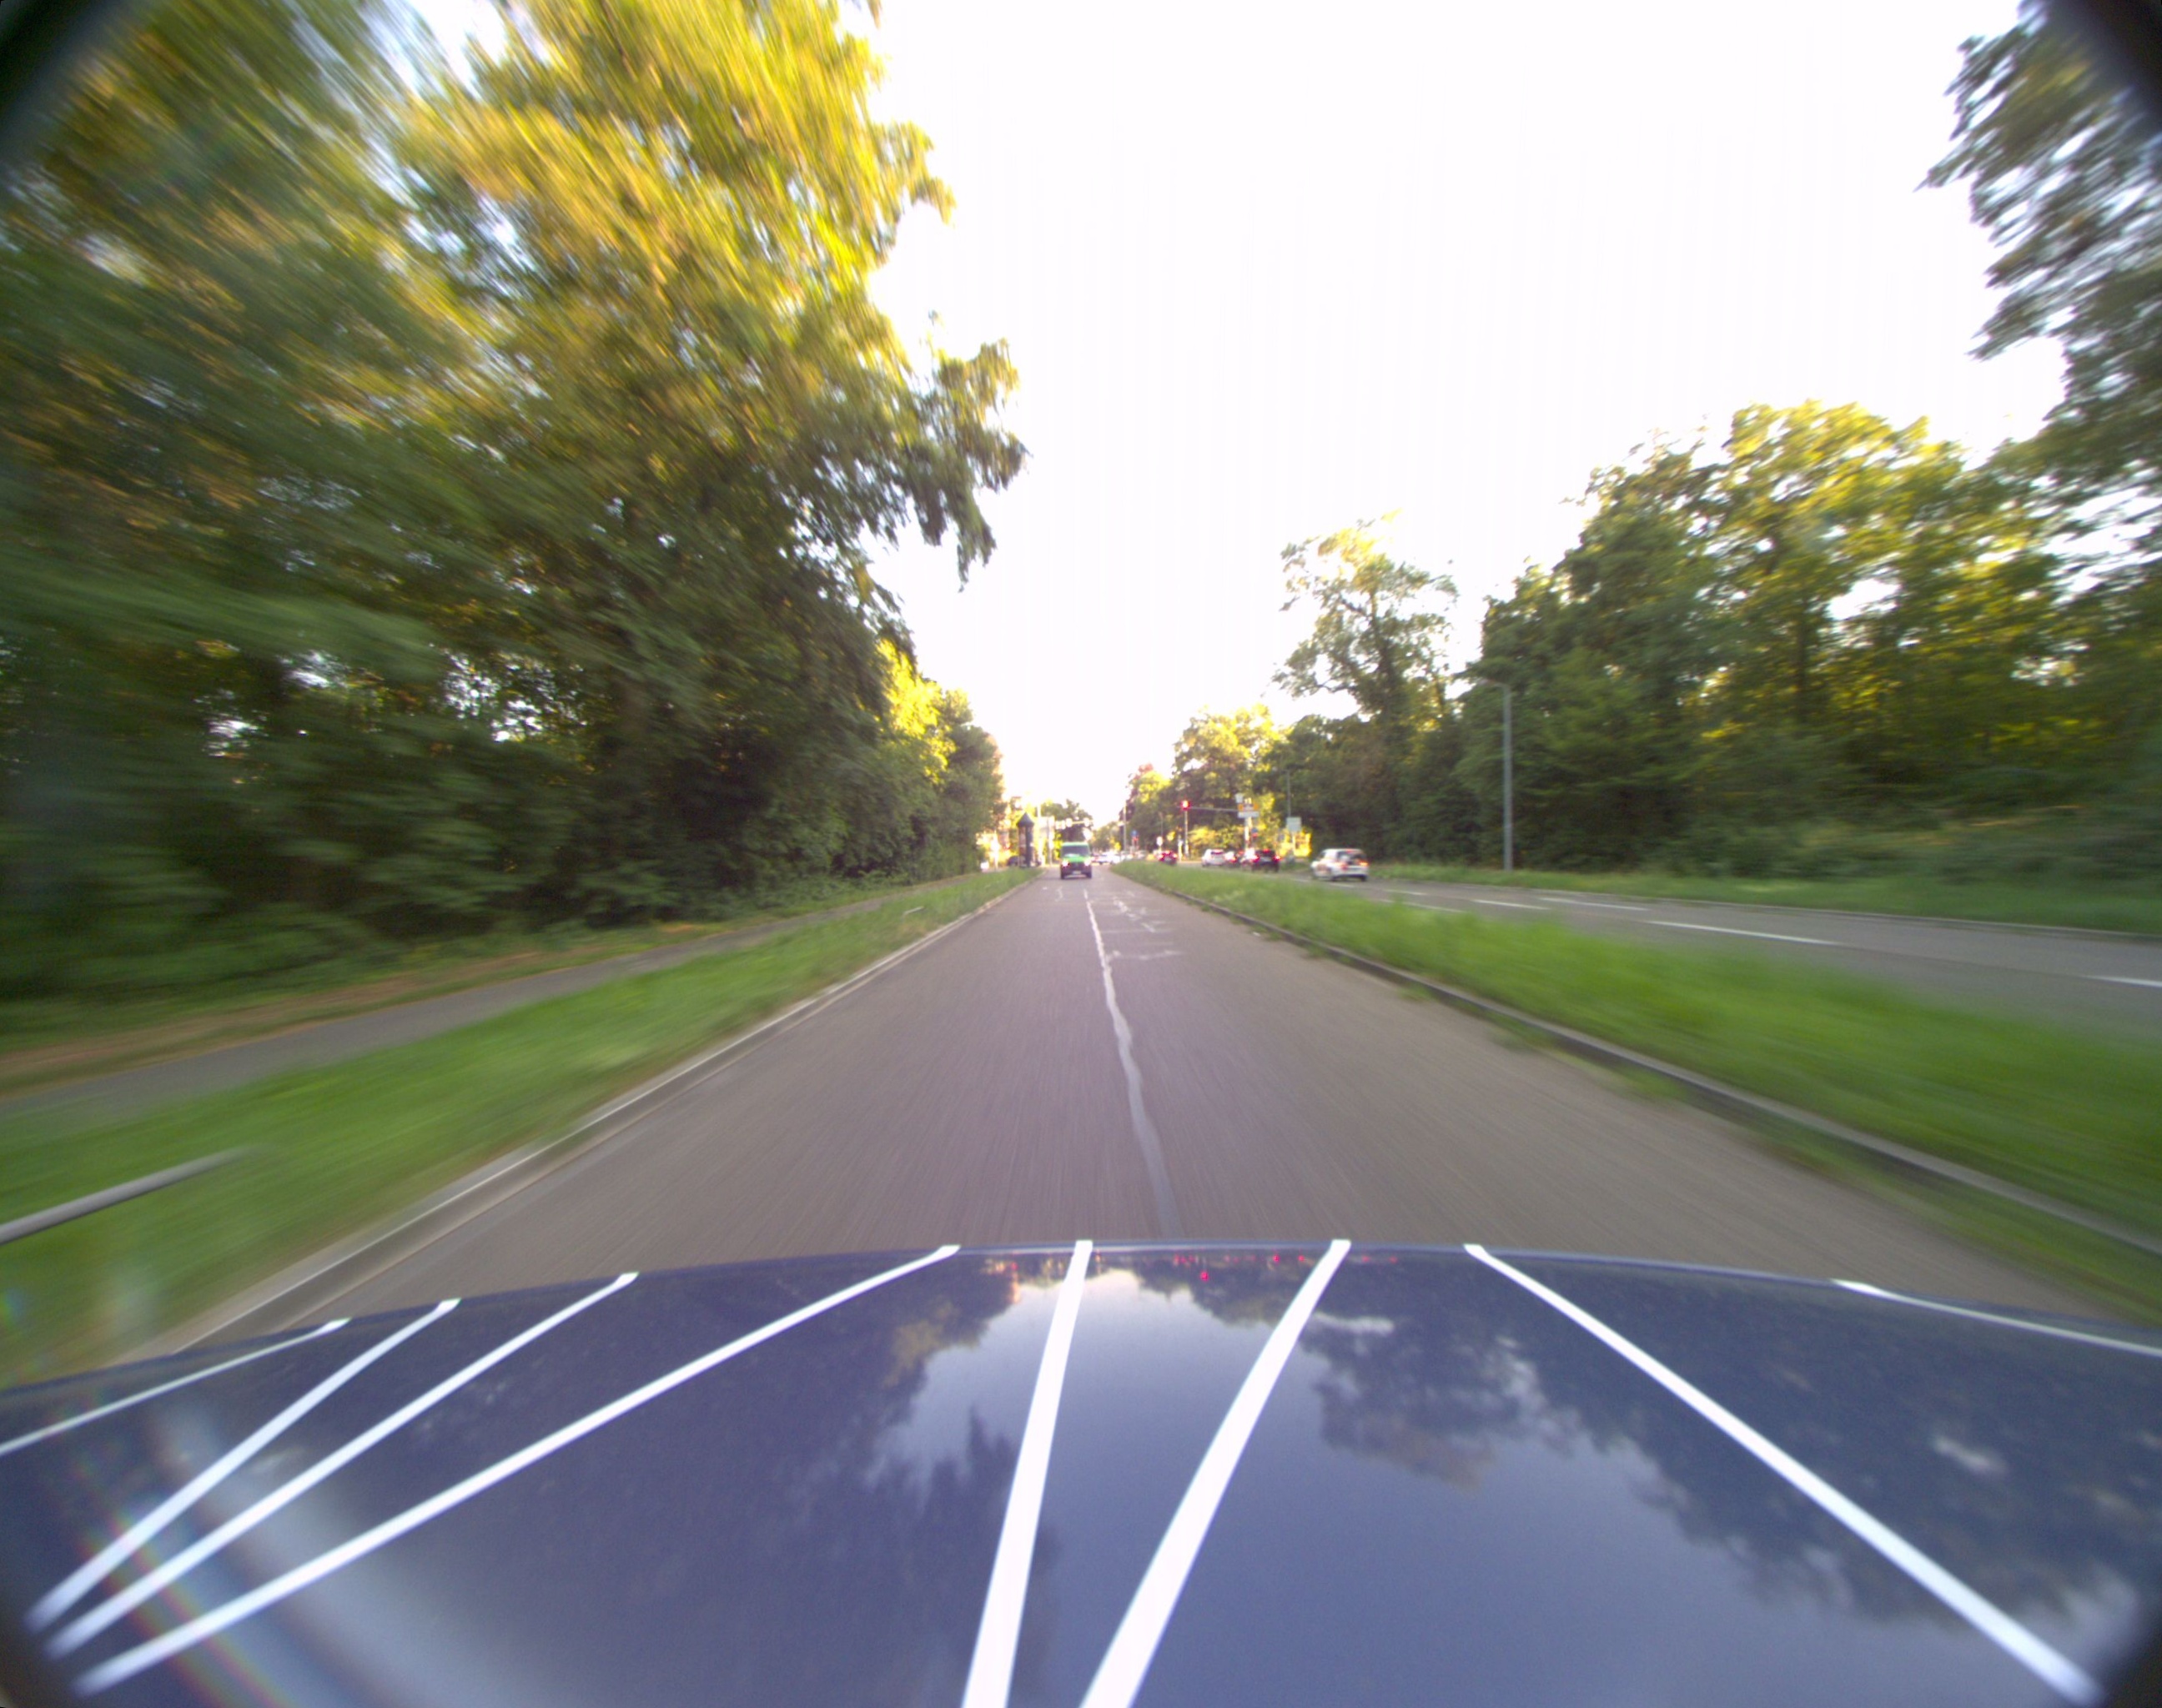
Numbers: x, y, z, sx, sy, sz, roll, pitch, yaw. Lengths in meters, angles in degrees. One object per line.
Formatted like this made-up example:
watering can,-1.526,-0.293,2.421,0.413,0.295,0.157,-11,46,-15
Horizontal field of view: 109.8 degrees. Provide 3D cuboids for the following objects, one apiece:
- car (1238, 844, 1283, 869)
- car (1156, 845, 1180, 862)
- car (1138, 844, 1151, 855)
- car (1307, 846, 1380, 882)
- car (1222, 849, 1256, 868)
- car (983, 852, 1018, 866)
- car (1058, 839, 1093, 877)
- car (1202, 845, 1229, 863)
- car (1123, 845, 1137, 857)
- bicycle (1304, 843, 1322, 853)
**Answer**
car,12.230,0.145,52.039,1.999,1.618,4.650,0,0,0
car,8.266,-0.041,72.389,1.818,1.618,4.450,0,0,0
car,11.060,-0.846,132.513,1.861,1.835,4.119,-1,0,-1
car,12.057,0.414,35.164,1.999,1.450,3.808,-1,2,-1
car,12.561,0.311,60.579,1.828,1.471,4.232,0,0,0
car,-9.544,0.604,89.982,3.997,1.527,1.683,-2,1,-2
car,-0.317,0.260,50.385,2.044,2.264,5.941,-2,0,1
car,12.400,-0.016,70.402,1.826,1.604,4.641,1,1,3
car,7.295,-0.457,113.216,1.769,1.626,4.512,-2,0,0
bicycle,25.169,-0.616,82.559,1.802,1.008,0.565,-2,1,-11
